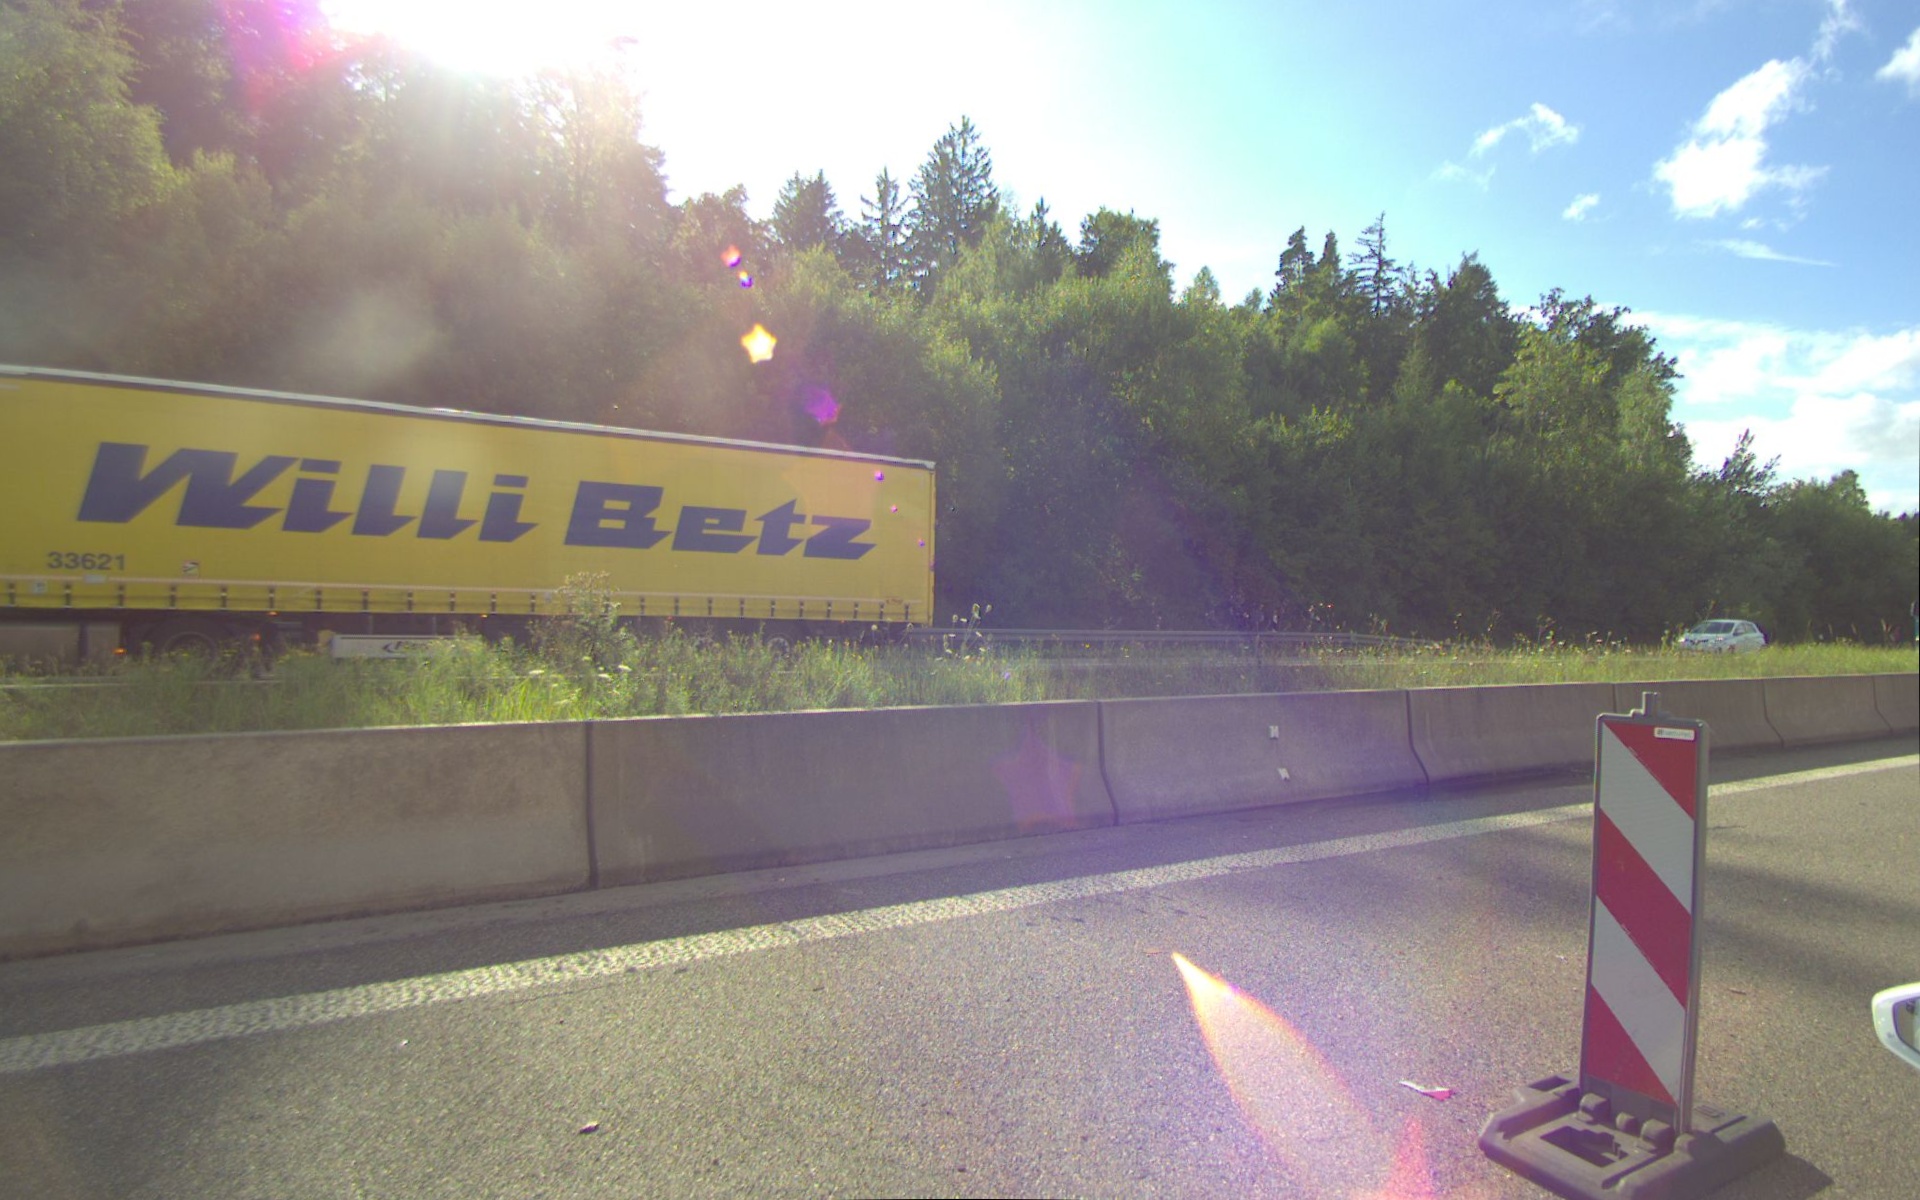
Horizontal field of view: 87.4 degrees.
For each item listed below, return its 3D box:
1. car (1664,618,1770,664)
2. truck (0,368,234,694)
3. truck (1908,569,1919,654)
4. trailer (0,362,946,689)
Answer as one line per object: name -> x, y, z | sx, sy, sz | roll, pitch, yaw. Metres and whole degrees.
car -> 28.354, 1.535, 37.602 | 3.953, 1.581, 1.778 | 2, 0, -30
truck -> -13.213, -0.880, 12.944 | 5.879, 3.961, 2.813 | 2, 0, -30
truck -> 51.041, 0.647, 51.120 | 5.403, 4.245, 2.625 | 1, 0, -30
trailer -> -6.946, -0.729, 16.661 | 13.777, 3.974, 2.814 | 2, 0, -31
